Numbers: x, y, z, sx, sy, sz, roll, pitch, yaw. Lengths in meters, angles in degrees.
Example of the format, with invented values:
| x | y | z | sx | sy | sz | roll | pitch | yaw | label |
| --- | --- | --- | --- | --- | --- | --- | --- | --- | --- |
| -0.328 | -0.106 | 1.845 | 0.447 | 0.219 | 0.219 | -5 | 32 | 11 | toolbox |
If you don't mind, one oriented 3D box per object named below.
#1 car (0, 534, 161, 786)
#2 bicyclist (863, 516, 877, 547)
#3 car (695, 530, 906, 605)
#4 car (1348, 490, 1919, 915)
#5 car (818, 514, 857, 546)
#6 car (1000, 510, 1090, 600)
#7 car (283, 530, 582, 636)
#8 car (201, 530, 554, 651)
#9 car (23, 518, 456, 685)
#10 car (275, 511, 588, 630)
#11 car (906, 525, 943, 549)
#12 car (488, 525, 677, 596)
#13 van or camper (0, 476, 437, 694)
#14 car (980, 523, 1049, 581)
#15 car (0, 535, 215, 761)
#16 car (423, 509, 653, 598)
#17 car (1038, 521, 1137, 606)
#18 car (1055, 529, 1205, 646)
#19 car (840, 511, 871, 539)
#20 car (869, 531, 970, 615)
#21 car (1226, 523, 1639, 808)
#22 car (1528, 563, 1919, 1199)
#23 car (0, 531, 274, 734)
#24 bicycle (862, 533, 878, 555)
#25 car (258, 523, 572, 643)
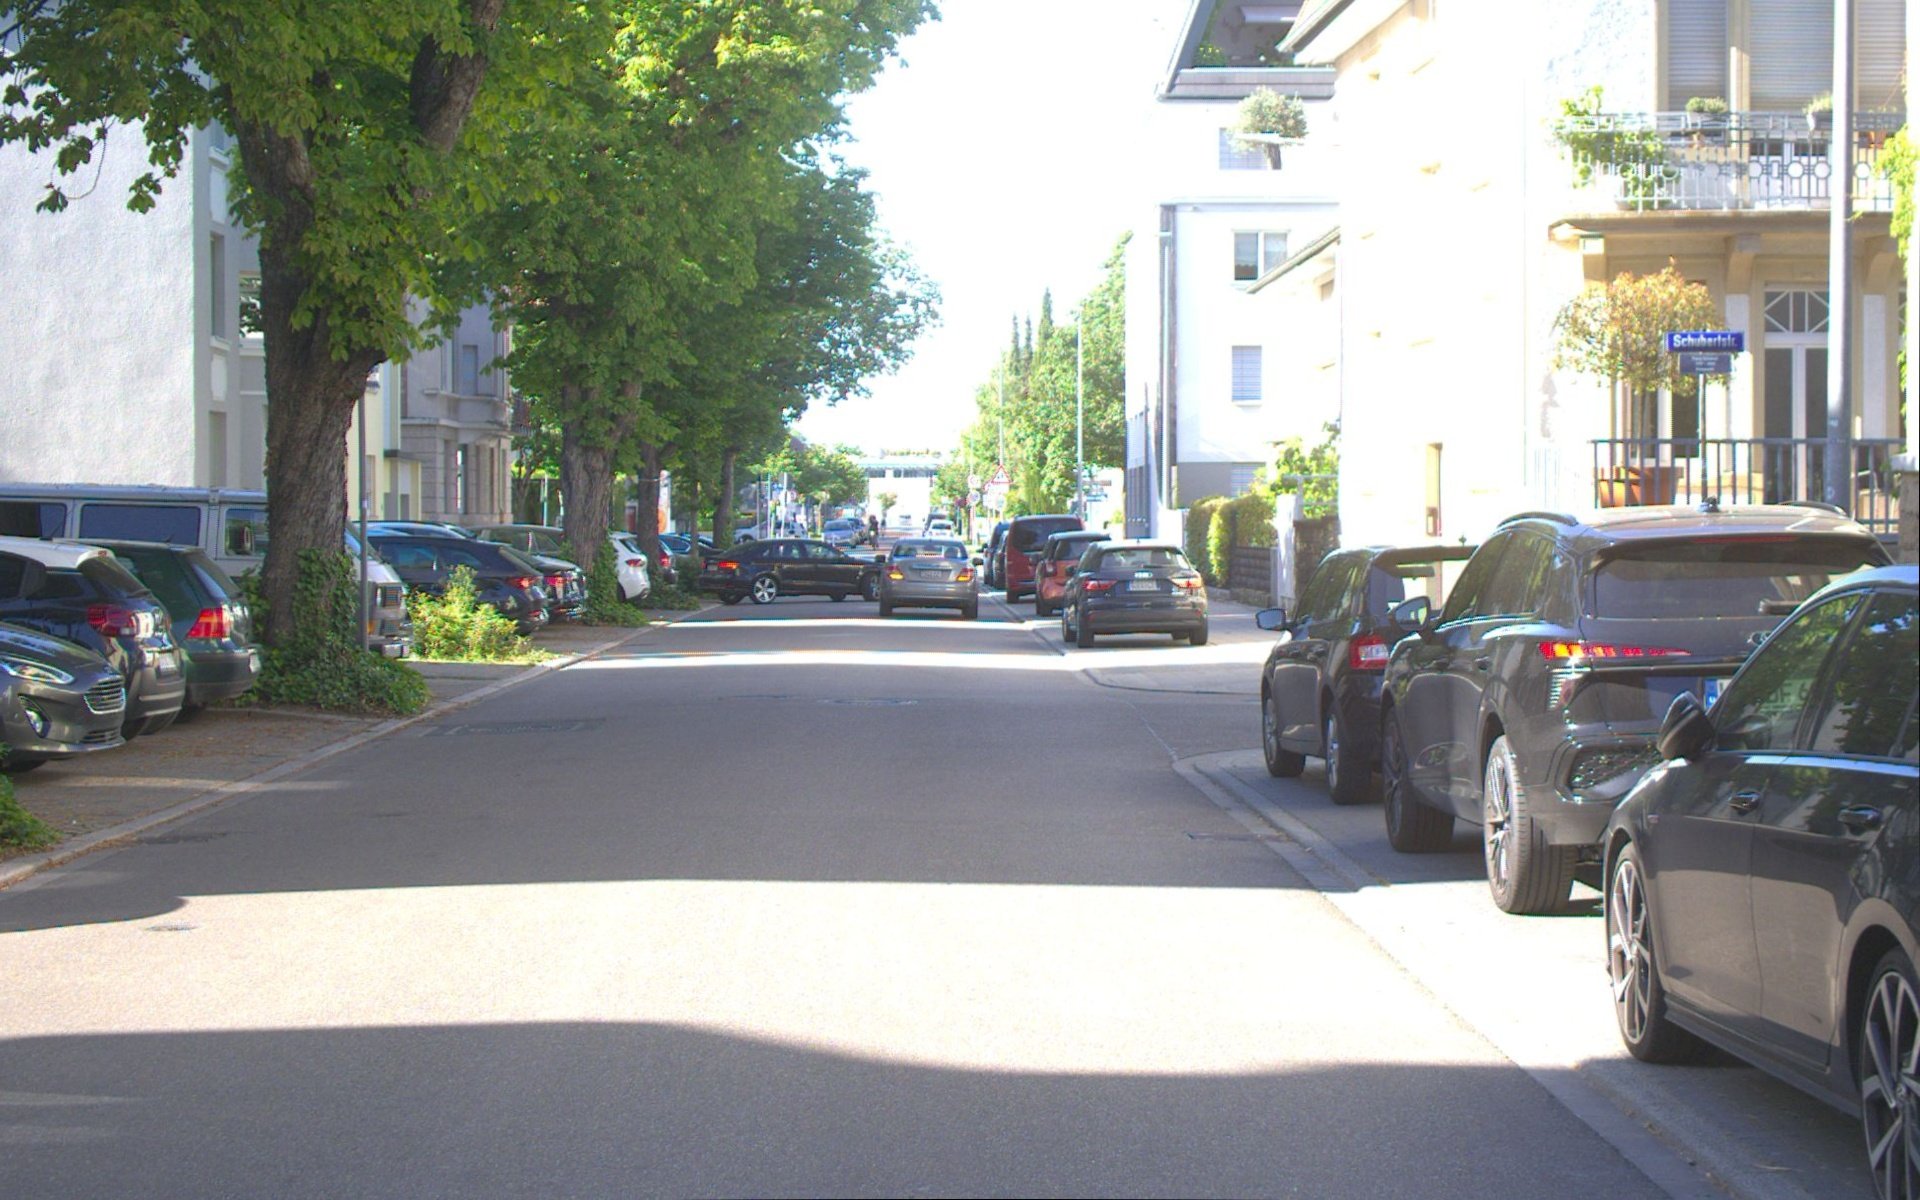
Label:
| x | y | z | sx | sy | sz | roll | pitch | yaw | label |
| --- | --- | --- | --- | --- | --- | --- | --- | --- | --- |
| -6.959 | 0.295 | 21.129 | 3.644 | 1.458 | 1.710 | 2 | 1 | 1 | car |
| -4.528 | -3.439 | 172.971 | 0.721 | 1.531 | 1.137 | 0 | 1 | -1 | bicyclist |
| -3.443 | -0.700 | 74.330 | 4.188 | 1.443 | 1.713 | 2 | 0 | -28 | car |
| 2.855 | 0.362 | 14.692 | 1.791 | 1.515 | 4.367 | -1 | 0 | -1 | car |
| -6.610 | -3.776 | 184.935 | 1.872 | 1.722 | 4.001 | 0 | 1 | -5 | car |
| 1.835 | -0.979 | 75.666 | 1.871 | 1.898 | 5.197 | -1 | 1 | 0 | car |
| -7.428 | -0.253 | 48.640 | 3.987 | 1.463 | 1.697 | 0 | 1 | -1 | car |
| -7.331 | -0.139 | 43.561 | 4.186 | 1.493 | 1.861 | 0 | 1 | -2 | car |
| -7.183 | -0.005 | 34.493 | 3.945 | 1.493 | 1.662 | 2 | 2 | 2 | car |
| -7.899 | -0.459 | 51.683 | 4.386 | 1.646 | 1.823 | -1 | 3 | 1 | car |
| -1.953 | -3.432 | 187.430 | 1.722 | 1.325 | 4.001 | 0 | 1 | -5 | car |
| -8.333 | -0.887 | 76.040 | 3.986 | 1.416 | 1.771 | 2 | 2 | -1 | car |
| -7.195 | -0.152 | 31.534 | 4.497 | 1.908 | 1.964 | 0 | 1 | -1 | van or camper |
| 1.435 | -1.296 | 92.338 | 1.737 | 1.526 | 4.179 | 0 | 1 | -1 | car |
| -7.077 | 0.269 | 23.637 | 3.478 | 1.453 | 1.797 | 2 | 1 | 0 | car |
| -7.801 | -0.879 | 63.830 | 4.022 | 1.479 | 1.807 | 2 | 1 | -1 | car |
| 2.316 | -0.685 | 62.883 | 1.592 | 1.475 | 3.247 | -2 | 1 | -1 | car |
| 2.247 | -0.199 | 46.383 | 1.619 | 1.435 | 3.935 | -2 | 1 | -2 | car |
| -6.329 | -4.550 | 208.288 | 1.787 | 1.527 | 4.001 | 3 | 2 | -1 | car |
| -0.700 | -0.476 | 62.219 | 1.726 | 1.415 | 3.960 | 1 | 0 | 0 | car |
| 2.723 | 0.351 | 20.665 | 1.662 | 1.515 | 4.002 | -1 | 0 | -4 | car |
| 2.638 | 0.619 | 8.321 | 1.709 | 1.431 | 4.193 | -2 | 0 | -1 | car |
| -7.338 | 0.196 | 26.108 | 3.921 | 1.410 | 1.716 | 2 | 2 | -3 | car |
| -4.521 | -2.829 | 172.909 | 0.719 | 1.075 | 1.891 | 0 | 1 | 0 | bicycle |
| -7.311 | -0.246 | 46.430 | 3.986 | 1.587 | 1.878 | 0 | 1 | -2 | car |
